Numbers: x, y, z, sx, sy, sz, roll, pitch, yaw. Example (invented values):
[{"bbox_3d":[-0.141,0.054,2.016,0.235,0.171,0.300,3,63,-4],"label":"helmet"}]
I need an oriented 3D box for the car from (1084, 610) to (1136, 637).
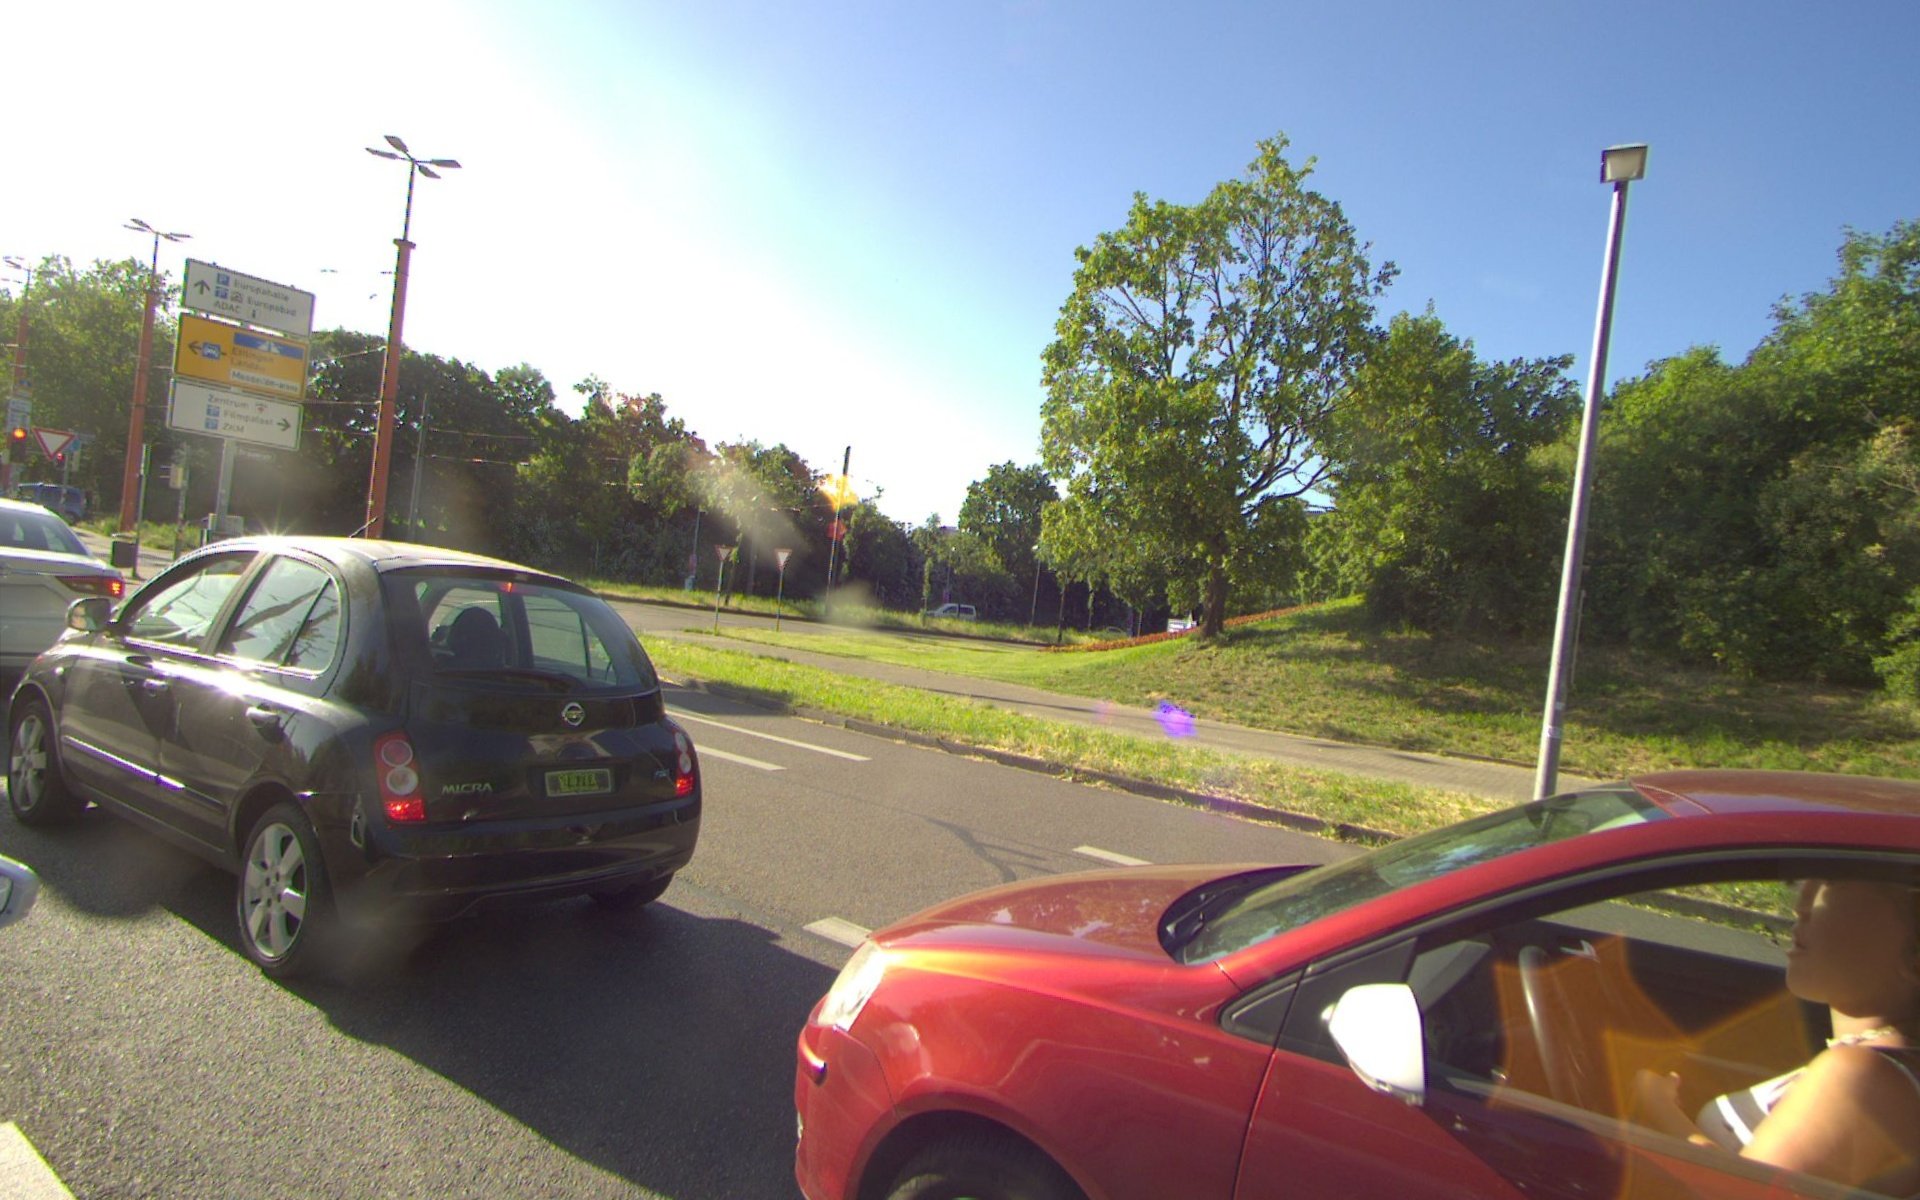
[{"bbox_3d":[12.649,2.006,84.864,4.176,1.701,1.643,8,-1,-32],"label":"car"}]

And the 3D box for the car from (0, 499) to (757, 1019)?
[{"bbox_3d":[-2.800,0.468,4.621,3.385,1.457,1.579,6,-2,32],"label":"car"}]

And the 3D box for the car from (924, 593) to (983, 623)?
[{"bbox_3d":[-0.489,0.621,76.889,4.093,1.771,1.642,8,-1,-33],"label":"car"}]

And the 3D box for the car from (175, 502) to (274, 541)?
[{"bbox_3d":[-39.437,-4.193,54.054,4.093,1.419,1.642,8,-1,-33],"label":"car"}]

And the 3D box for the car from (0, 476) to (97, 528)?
[{"bbox_3d":[-43.588,-4.660,47.365,4.091,1.812,1.784,8,-1,-32],"label":"car"}]

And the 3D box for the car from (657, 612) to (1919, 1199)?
[{"bbox_3d":[1.343,1.003,1.865,3.629,1.477,1.579,6,-2,32],"label":"car"}]

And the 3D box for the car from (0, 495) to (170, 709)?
[{"bbox_3d":[-8.372,-0.174,8.076,4.256,1.457,1.802,6,-2,33],"label":"car"}]
